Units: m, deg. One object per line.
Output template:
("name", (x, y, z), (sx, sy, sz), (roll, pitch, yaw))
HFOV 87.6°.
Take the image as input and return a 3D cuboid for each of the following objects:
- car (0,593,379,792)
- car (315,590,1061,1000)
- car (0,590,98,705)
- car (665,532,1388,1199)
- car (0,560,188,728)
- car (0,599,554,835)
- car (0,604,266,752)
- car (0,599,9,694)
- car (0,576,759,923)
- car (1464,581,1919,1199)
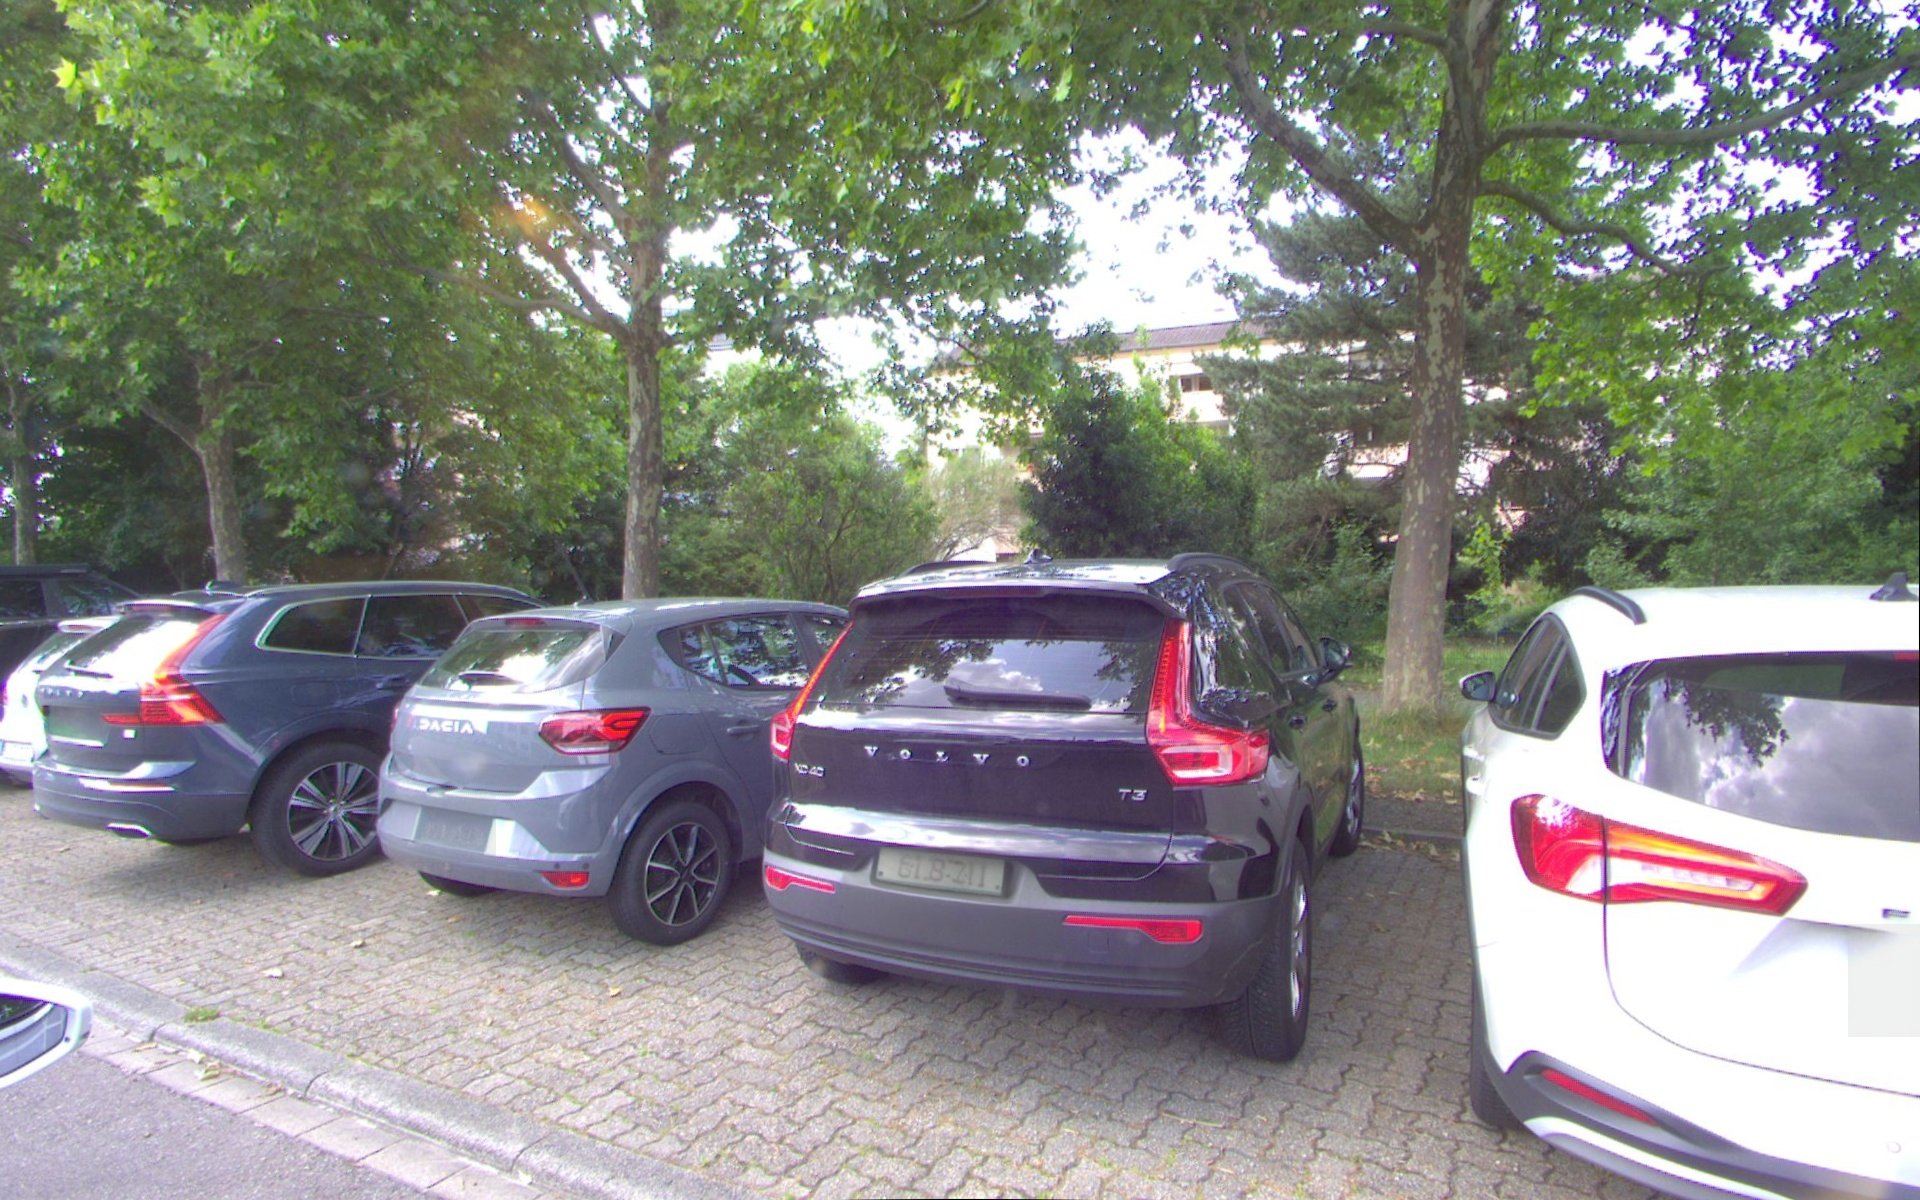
("car", (-8.236, 0.764, 10.030), (1.725, 1.627, 3.969), (0, 1, 20))
("car", (-1.132, 0.724, 6.099), (1.731, 1.521, 4.371), (0, 1, 32))
("car", (-16.422, 0.776, 15.320), (1.828, 1.790, 4.538), (0, 1, 30))
("car", (0.926, 0.631, 4.839), (1.818, 1.648, 4.655), (0, 1, 27))
("car", (-13.222, 0.576, 13.114), (1.828, 2.152, 4.538), (0, 1, 30))
("car", (-5.838, 0.785, 8.813), (1.730, 1.514, 3.959), (0, 1, 30))
("car", (-10.620, 0.858, 11.525), (1.730, 1.514, 3.959), (-1, 1, 30))
("car", (-18.789, 0.869, 16.220), (1.826, 1.683, 4.543), (0, 1, 26))
("car", (-3.602, 0.689, 7.100), (1.731, 1.661, 4.371), (0, 1, 32))
("car", (2.835, 0.686, 3.598), (1.818, 1.493, 4.655), (0, 1, 27))
